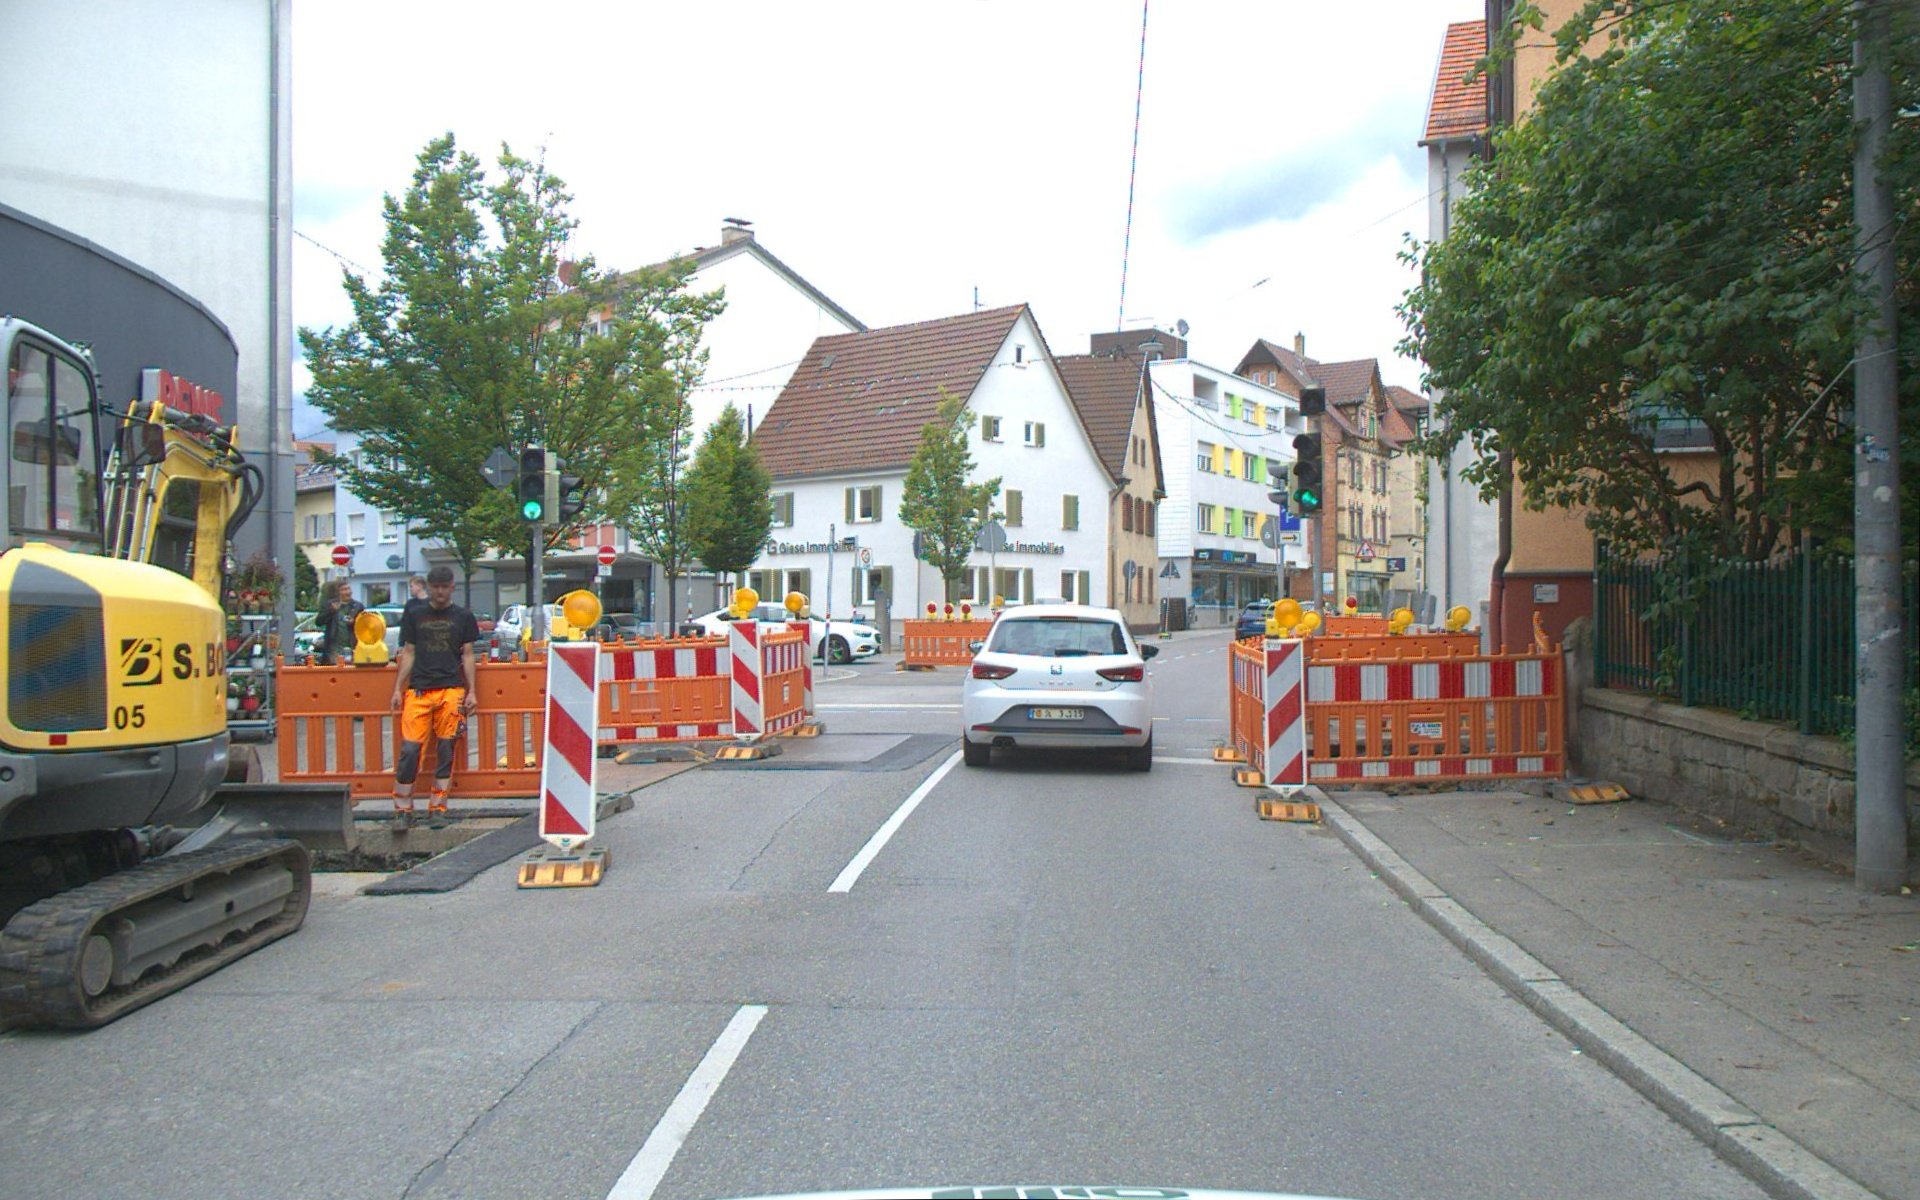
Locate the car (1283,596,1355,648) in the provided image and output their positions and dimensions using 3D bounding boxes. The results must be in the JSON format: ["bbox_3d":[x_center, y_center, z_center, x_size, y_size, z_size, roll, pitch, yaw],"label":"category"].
[{"bbox_3d":[14.706,0.879,67.623,1.954,2.049,3.996,0,0,26],"label":"car"}]

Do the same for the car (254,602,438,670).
[{"bbox_3d":[-16.215,0.923,43.883,1.957,1.668,4.317,-1,0,32],"label":"car"}]

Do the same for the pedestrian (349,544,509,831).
[{"bbox_3d":[-3.530,0.563,11.051,0.797,1.847,0.744,0,0,3],"label":"pedestrian"}]

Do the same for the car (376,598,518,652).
[{"bbox_3d":[-16.163,0.751,51.959,4.828,1.584,2.011,1,0,40],"label":"car"}]

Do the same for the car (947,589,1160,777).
[{"bbox_3d":[0.987,0.692,15.998,1.773,1.506,3.873,2,1,6],"label":"car"}]

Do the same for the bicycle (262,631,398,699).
[{"bbox_3d":[-11.305,1.152,29.720,2.135,1.064,0.739,-3,1,-43],"label":"bicycle"}]

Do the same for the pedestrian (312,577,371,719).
[{"bbox_3d":[-8.113,0.615,21.698,0.683,1.822,0.713,0,0,-25],"label":"pedestrian"}]

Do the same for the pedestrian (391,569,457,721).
[{"bbox_3d":[-7.068,0.579,21.792,0.803,1.959,0.780,0,0,-21],"label":"pedestrian"}]

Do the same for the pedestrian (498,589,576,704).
[{"bbox_3d":[-6.106,0.657,23.891,0.667,1.620,0.878,-1,0,26],"label":"pedestrian"}]

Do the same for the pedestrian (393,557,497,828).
[{"bbox_3d":[-3.435,0.605,11.045,0.526,1.774,0.444,0,0,4],"label":"pedestrian"}]

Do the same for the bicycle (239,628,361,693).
[{"bbox_3d":[-12.348,1.118,30.968,1.943,1.093,0.800,-2,1,-41],"label":"bicycle"}]

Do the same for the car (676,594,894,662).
[{"bbox_3d":[-4.108,0.637,39.340,4.799,1.502,2.251,1,0,4],"label":"car"}]

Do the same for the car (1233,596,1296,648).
[{"bbox_3d":[9.503,0.660,51.432,1.773,1.506,3.874,-1,1,13],"label":"car"}]

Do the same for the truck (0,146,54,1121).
[{"bbox_3d":[-4.107,0.146,1.530,2.675,2.772,6.849,0,1,1],"label":"truck"}]

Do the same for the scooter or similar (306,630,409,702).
[{"bbox_3d":[-10.113,1.087,27.784,1.520,1.143,0.588,-1,0,-43],"label":"scooter or similar"}]

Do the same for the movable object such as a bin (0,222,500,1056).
[{"bbox_3d":[-3.795,0.163,7.859,1.801,2.812,4.506,0,-1,2],"label":"movable object such as a bin"}]

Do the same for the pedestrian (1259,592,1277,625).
[{"bbox_3d":[16.067,0.426,86.304,0.873,1.694,0.862,0,0,15],"label":"pedestrian"}]

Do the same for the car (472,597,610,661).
[{"bbox_3d":[-11.474,0.744,45.045,1.999,1.584,4.856,1,0,-36],"label":"car"}]
